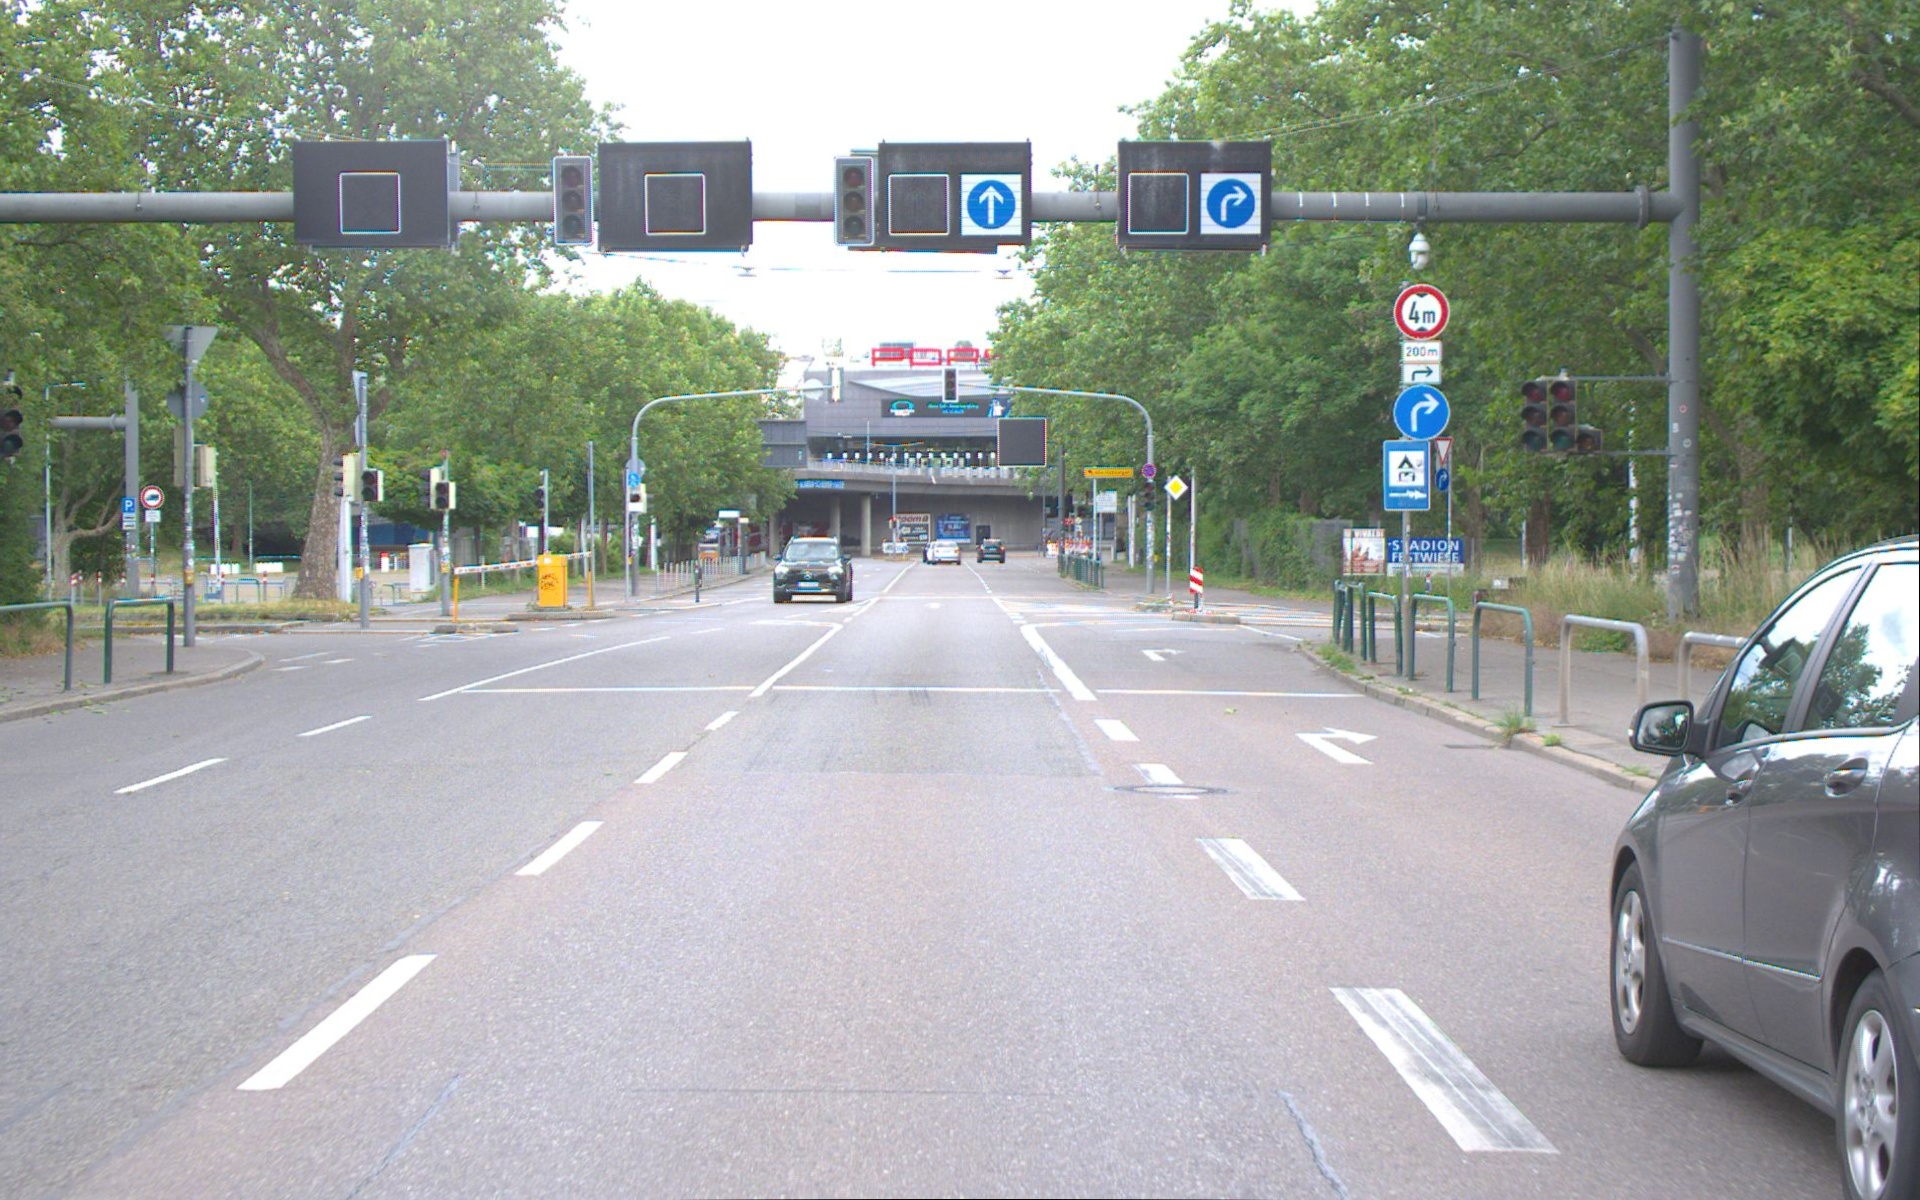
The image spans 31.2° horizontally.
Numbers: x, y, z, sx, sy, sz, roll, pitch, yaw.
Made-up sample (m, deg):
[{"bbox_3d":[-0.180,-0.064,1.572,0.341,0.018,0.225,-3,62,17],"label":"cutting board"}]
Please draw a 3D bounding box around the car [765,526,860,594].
[{"bbox_3d":[-3.756,-1.016,88.332,1.994,1.654,4.516,-1,0,3],"label":"car"}]

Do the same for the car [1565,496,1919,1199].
[{"bbox_3d":[2.807,0.565,8.684,1.826,1.611,4.034,1,1,0],"label":"car"}]

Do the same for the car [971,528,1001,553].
[{"bbox_3d":[1.842,-4.214,242.214,2.007,1.693,4.069,1,0,1],"label":"car"}]

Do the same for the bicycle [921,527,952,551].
[{"bbox_3d":[-1.541,-4.045,227.725,1.993,1.503,4.000,0,1,-1],"label":"bicycle"}]

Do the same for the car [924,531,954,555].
[{"bbox_3d":[-1.331,-3.623,218.308,1.778,1.455,3.822,2,0,1],"label":"car"}]
